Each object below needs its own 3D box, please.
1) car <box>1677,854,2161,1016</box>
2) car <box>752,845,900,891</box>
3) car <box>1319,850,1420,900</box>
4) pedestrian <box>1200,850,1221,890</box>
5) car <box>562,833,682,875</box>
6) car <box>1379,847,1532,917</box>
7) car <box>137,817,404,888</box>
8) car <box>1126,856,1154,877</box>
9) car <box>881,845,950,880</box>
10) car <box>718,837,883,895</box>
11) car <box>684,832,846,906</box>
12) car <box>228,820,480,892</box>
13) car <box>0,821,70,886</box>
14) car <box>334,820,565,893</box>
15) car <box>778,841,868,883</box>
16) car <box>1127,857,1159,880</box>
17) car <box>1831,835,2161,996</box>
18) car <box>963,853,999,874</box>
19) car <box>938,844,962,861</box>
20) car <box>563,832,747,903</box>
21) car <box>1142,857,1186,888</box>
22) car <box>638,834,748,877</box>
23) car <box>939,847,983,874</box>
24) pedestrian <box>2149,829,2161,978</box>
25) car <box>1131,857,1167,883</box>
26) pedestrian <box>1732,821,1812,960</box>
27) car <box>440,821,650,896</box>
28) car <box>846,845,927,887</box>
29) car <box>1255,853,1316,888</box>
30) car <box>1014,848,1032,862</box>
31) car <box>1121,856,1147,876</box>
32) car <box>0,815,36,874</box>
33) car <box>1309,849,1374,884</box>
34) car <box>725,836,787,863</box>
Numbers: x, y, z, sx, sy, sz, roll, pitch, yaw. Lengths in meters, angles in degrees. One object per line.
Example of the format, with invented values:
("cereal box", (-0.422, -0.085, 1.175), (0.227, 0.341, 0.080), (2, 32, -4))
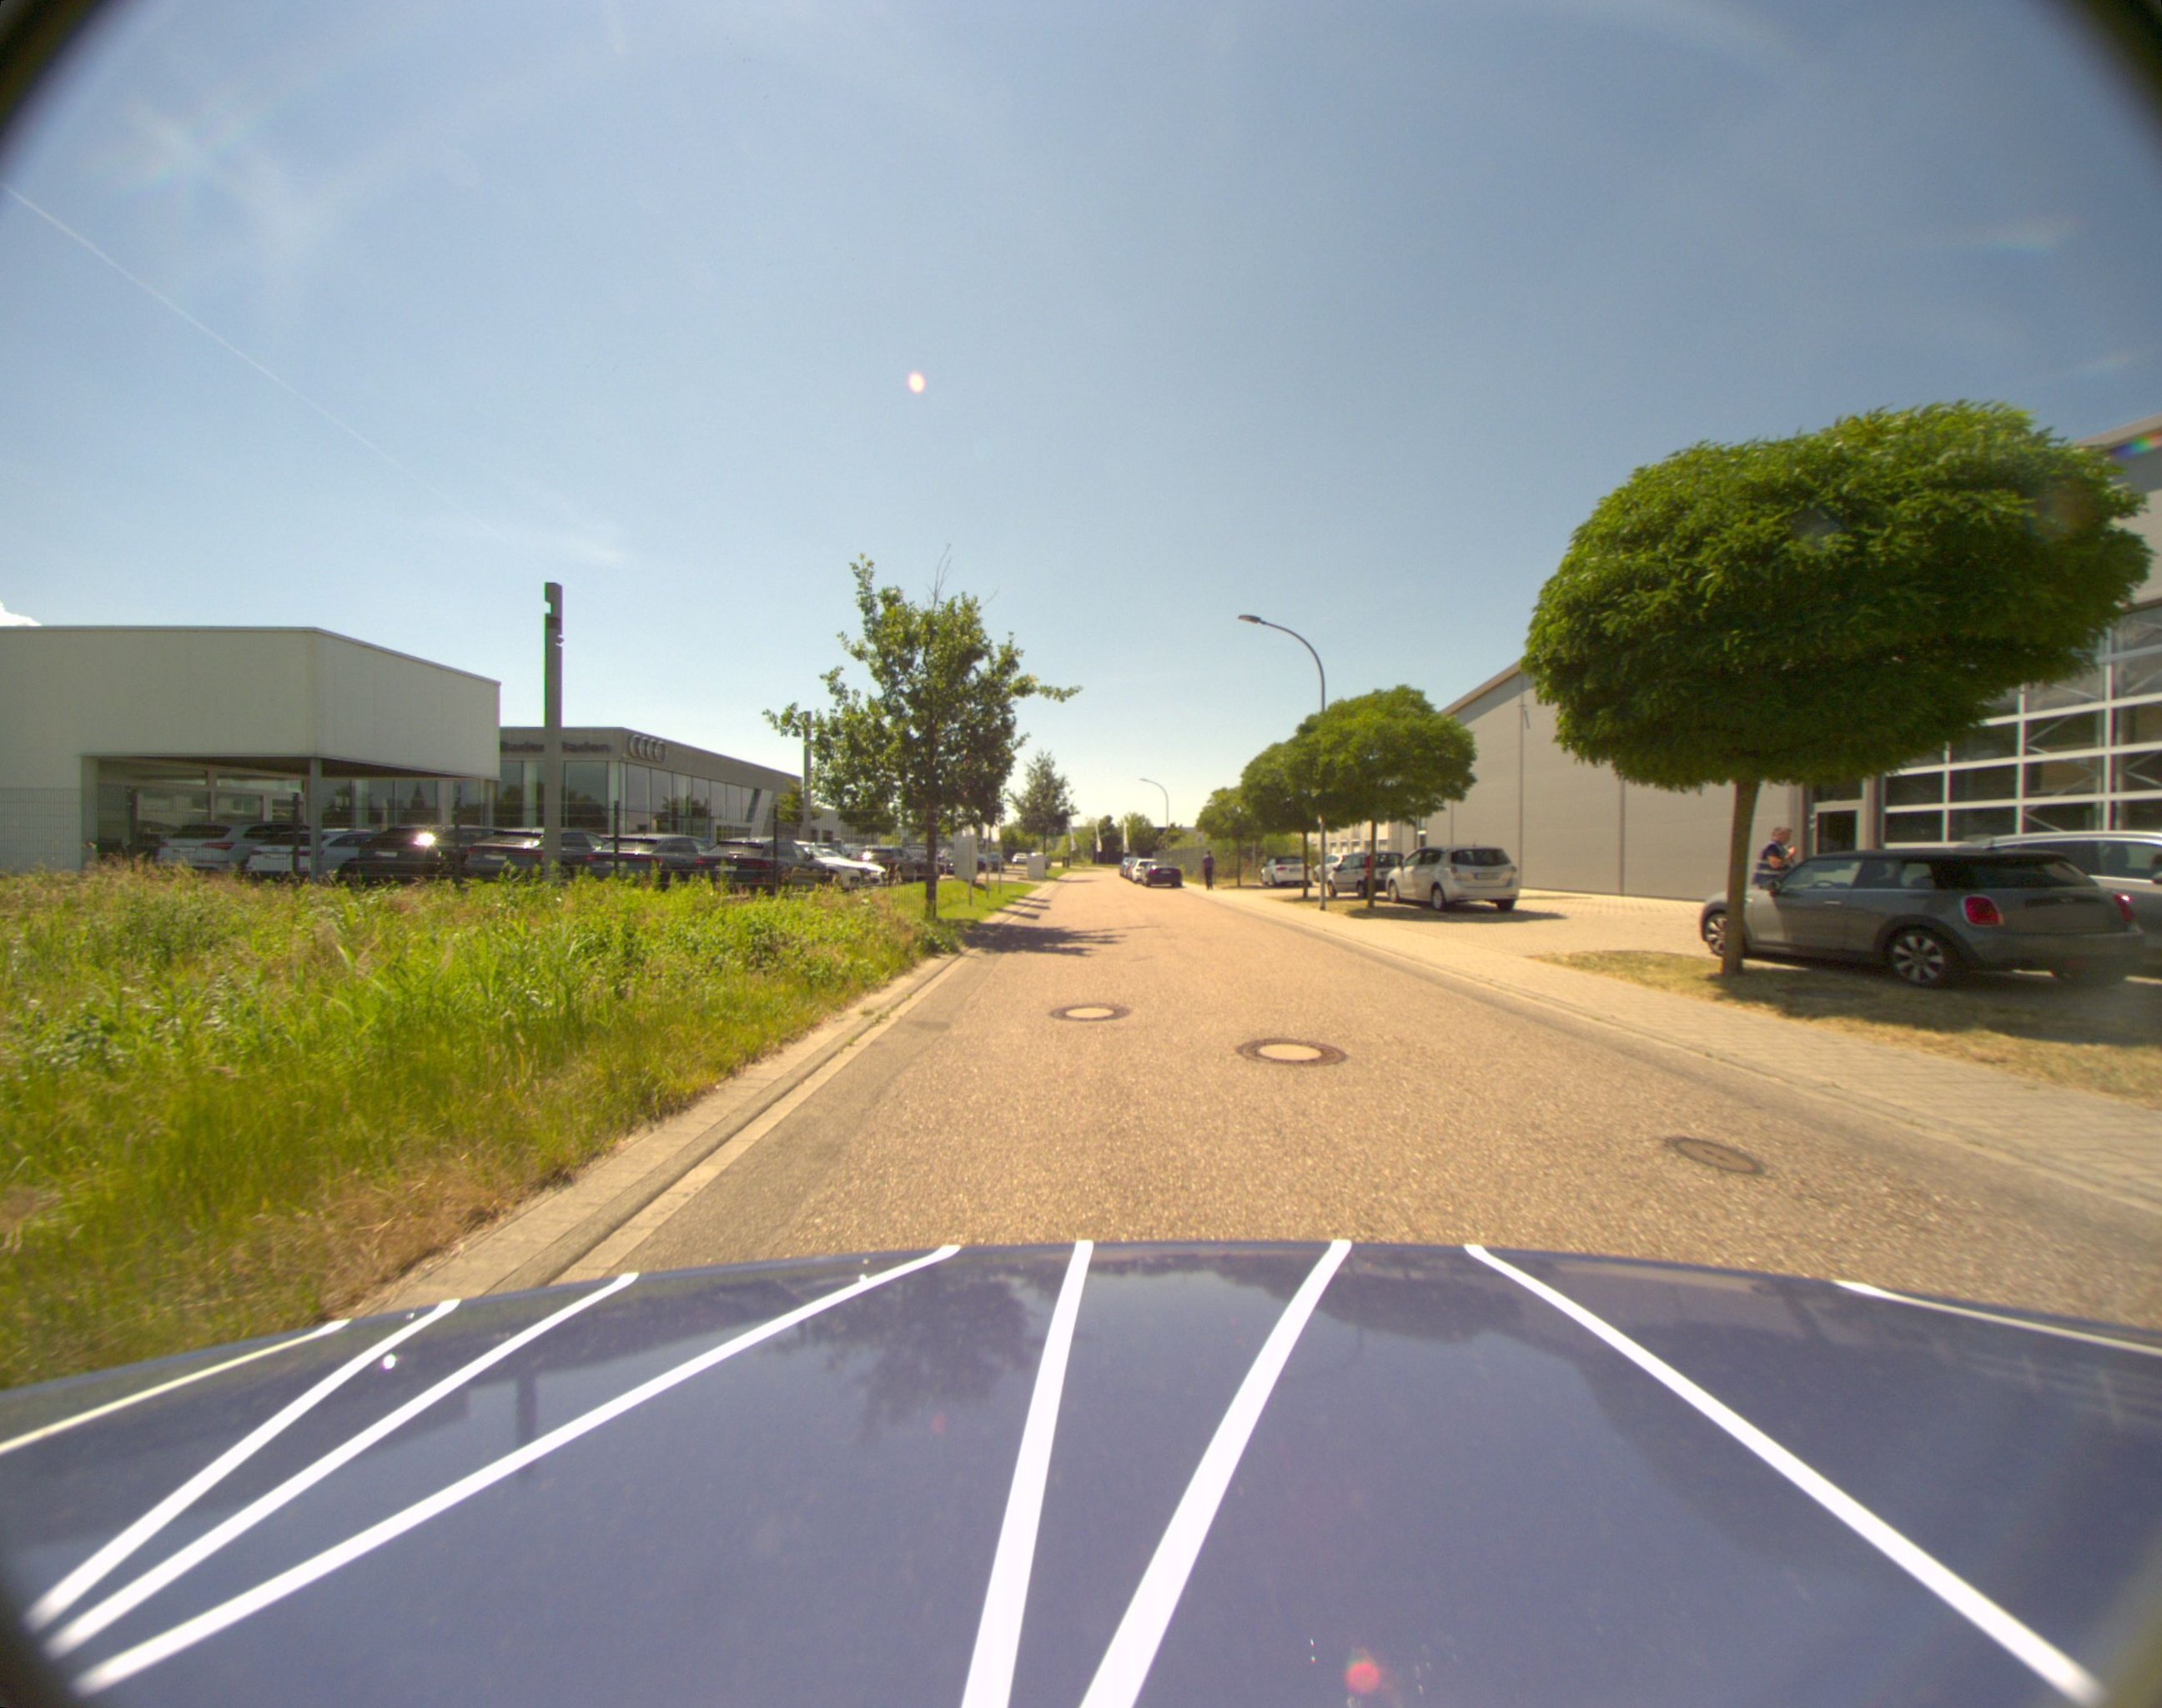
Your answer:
("car", (9.317, 0.744, 8.865), (1.770, 1.445, 3.840), (-1, 0, 2))
("car", (-9.054, 0.474, 27.253), (4.539, 1.449, 2.031), (2, 0, 1))
("car", (9.288, 0.645, 24.785), (1.687, 1.491, 3.703), (0, 0, -4))
("pedestrian", (5.876, 0.720, 34.488), (0.746, 1.791, 1.135), (-2, 0, 2))
("car", (-18.973, 0.004, 31.730), (2.030, 1.580, 4.779), (2, 0, 1))
("car", (9.415, 0.632, 19.575), (1.770, 1.564, 4.540), (-1, 0, 1))
("car", (-21.746, -0.034, 20.780), (2.029, 1.644, 4.809), (2, 0, 2))
("car", (4.328, 0.886, 56.444), (1.829, 1.491, 4.520), (1, 0, 1))
("car", (-7.981, 0.382, 37.143), (2.030, 1.505, 5.239), (3, 0, 1))
("car", (-9.005, 0.375, 24.681), (4.538, 1.683, 2.032), (2, 0, 3))
("car", (-8.286, 0.353, 20.559), (2.029, 1.683, 5.109), (2, 0, 2))
("car", (-19.220, 0.048, 20.495), (2.029, 1.644, 4.809), (2, 0, 2))
("car", (-30.505, -0.014, 20.154), (1.998, 1.774, 4.000), (1, 0, 0))
("car", (-16.589, 0.062, 20.396), (2.029, 1.670, 4.809), (2, 0, 2))
("car", (-10.704, 0.328, 31.931), (2.030, 1.580, 4.779), (2, 0, 1))
("car", (4.092, 0.929, 50.813), (1.829, 1.491, 4.520), (1, 0, 1))
("car", (11.846, 0.611, 8.986), (1.739, 1.618, 4.348), (-1, 0, 2))
("car", (-7.396, 0.721, 56.596), (1.966, 1.358, 4.721), (3, -1, 1))
("car", (-14.713, -0.166, 85.421), (1.829, 1.684, 4.416), (3, 0, 0))
("car", (-11.123, 0.325, 20.349), (2.029, 1.601, 4.809), (2, 0, 2))
("car", (4.246, 0.928, 39.540), (1.829, 1.491, 4.526), (1, 0, 1))
("car", (-16.003, 0.071, 31.656), (2.030, 1.580, 4.779), (2, 0, 1))
("car", (-7.625, 0.371, 48.646), (1.966, 1.448, 4.984), (2, 2, 1))
("pedestrian", (12.719, 0.555, 8.265), (0.842, 1.703, 0.965), (-1, 0, 0))
("car", (4.004, 0.915, 45.464), (1.829, 1.491, 4.259), (1, 0, 1))
("pedestrian", (10.267, 0.518, 11.327), (0.840, 1.961, 0.967), (-1, 1, 41))
("car", (-13.961, 0.106, 20.241), (2.029, 1.715, 4.809), (2, 0, 2))
("car", (-8.010, 0.451, 31.794), (2.030, 1.564, 4.779), (2, 0, 1))
("car", (9.556, 0.715, 35.840), (1.828, 1.491, 4.328), (-2, 0, 3))
("car", (-7.072, 0.098, 92.525), (1.824, 1.519, 4.944), (2, 0, 0))
("car", (4.324, 0.928, 62.298), (1.829, 1.561, 4.386), (1, 0, 0))
("car", (-32.923, -0.313, 20.746), (2.029, 1.715, 4.809), (2, 0, 2))
("car", (12.499, 0.573, 36.763), (1.828, 1.491, 4.259), (-2, 0, 3))
("car", (-21.845, -0.329, 51.291), (1.966, 1.612, 4.984), (2, 2, 1))
